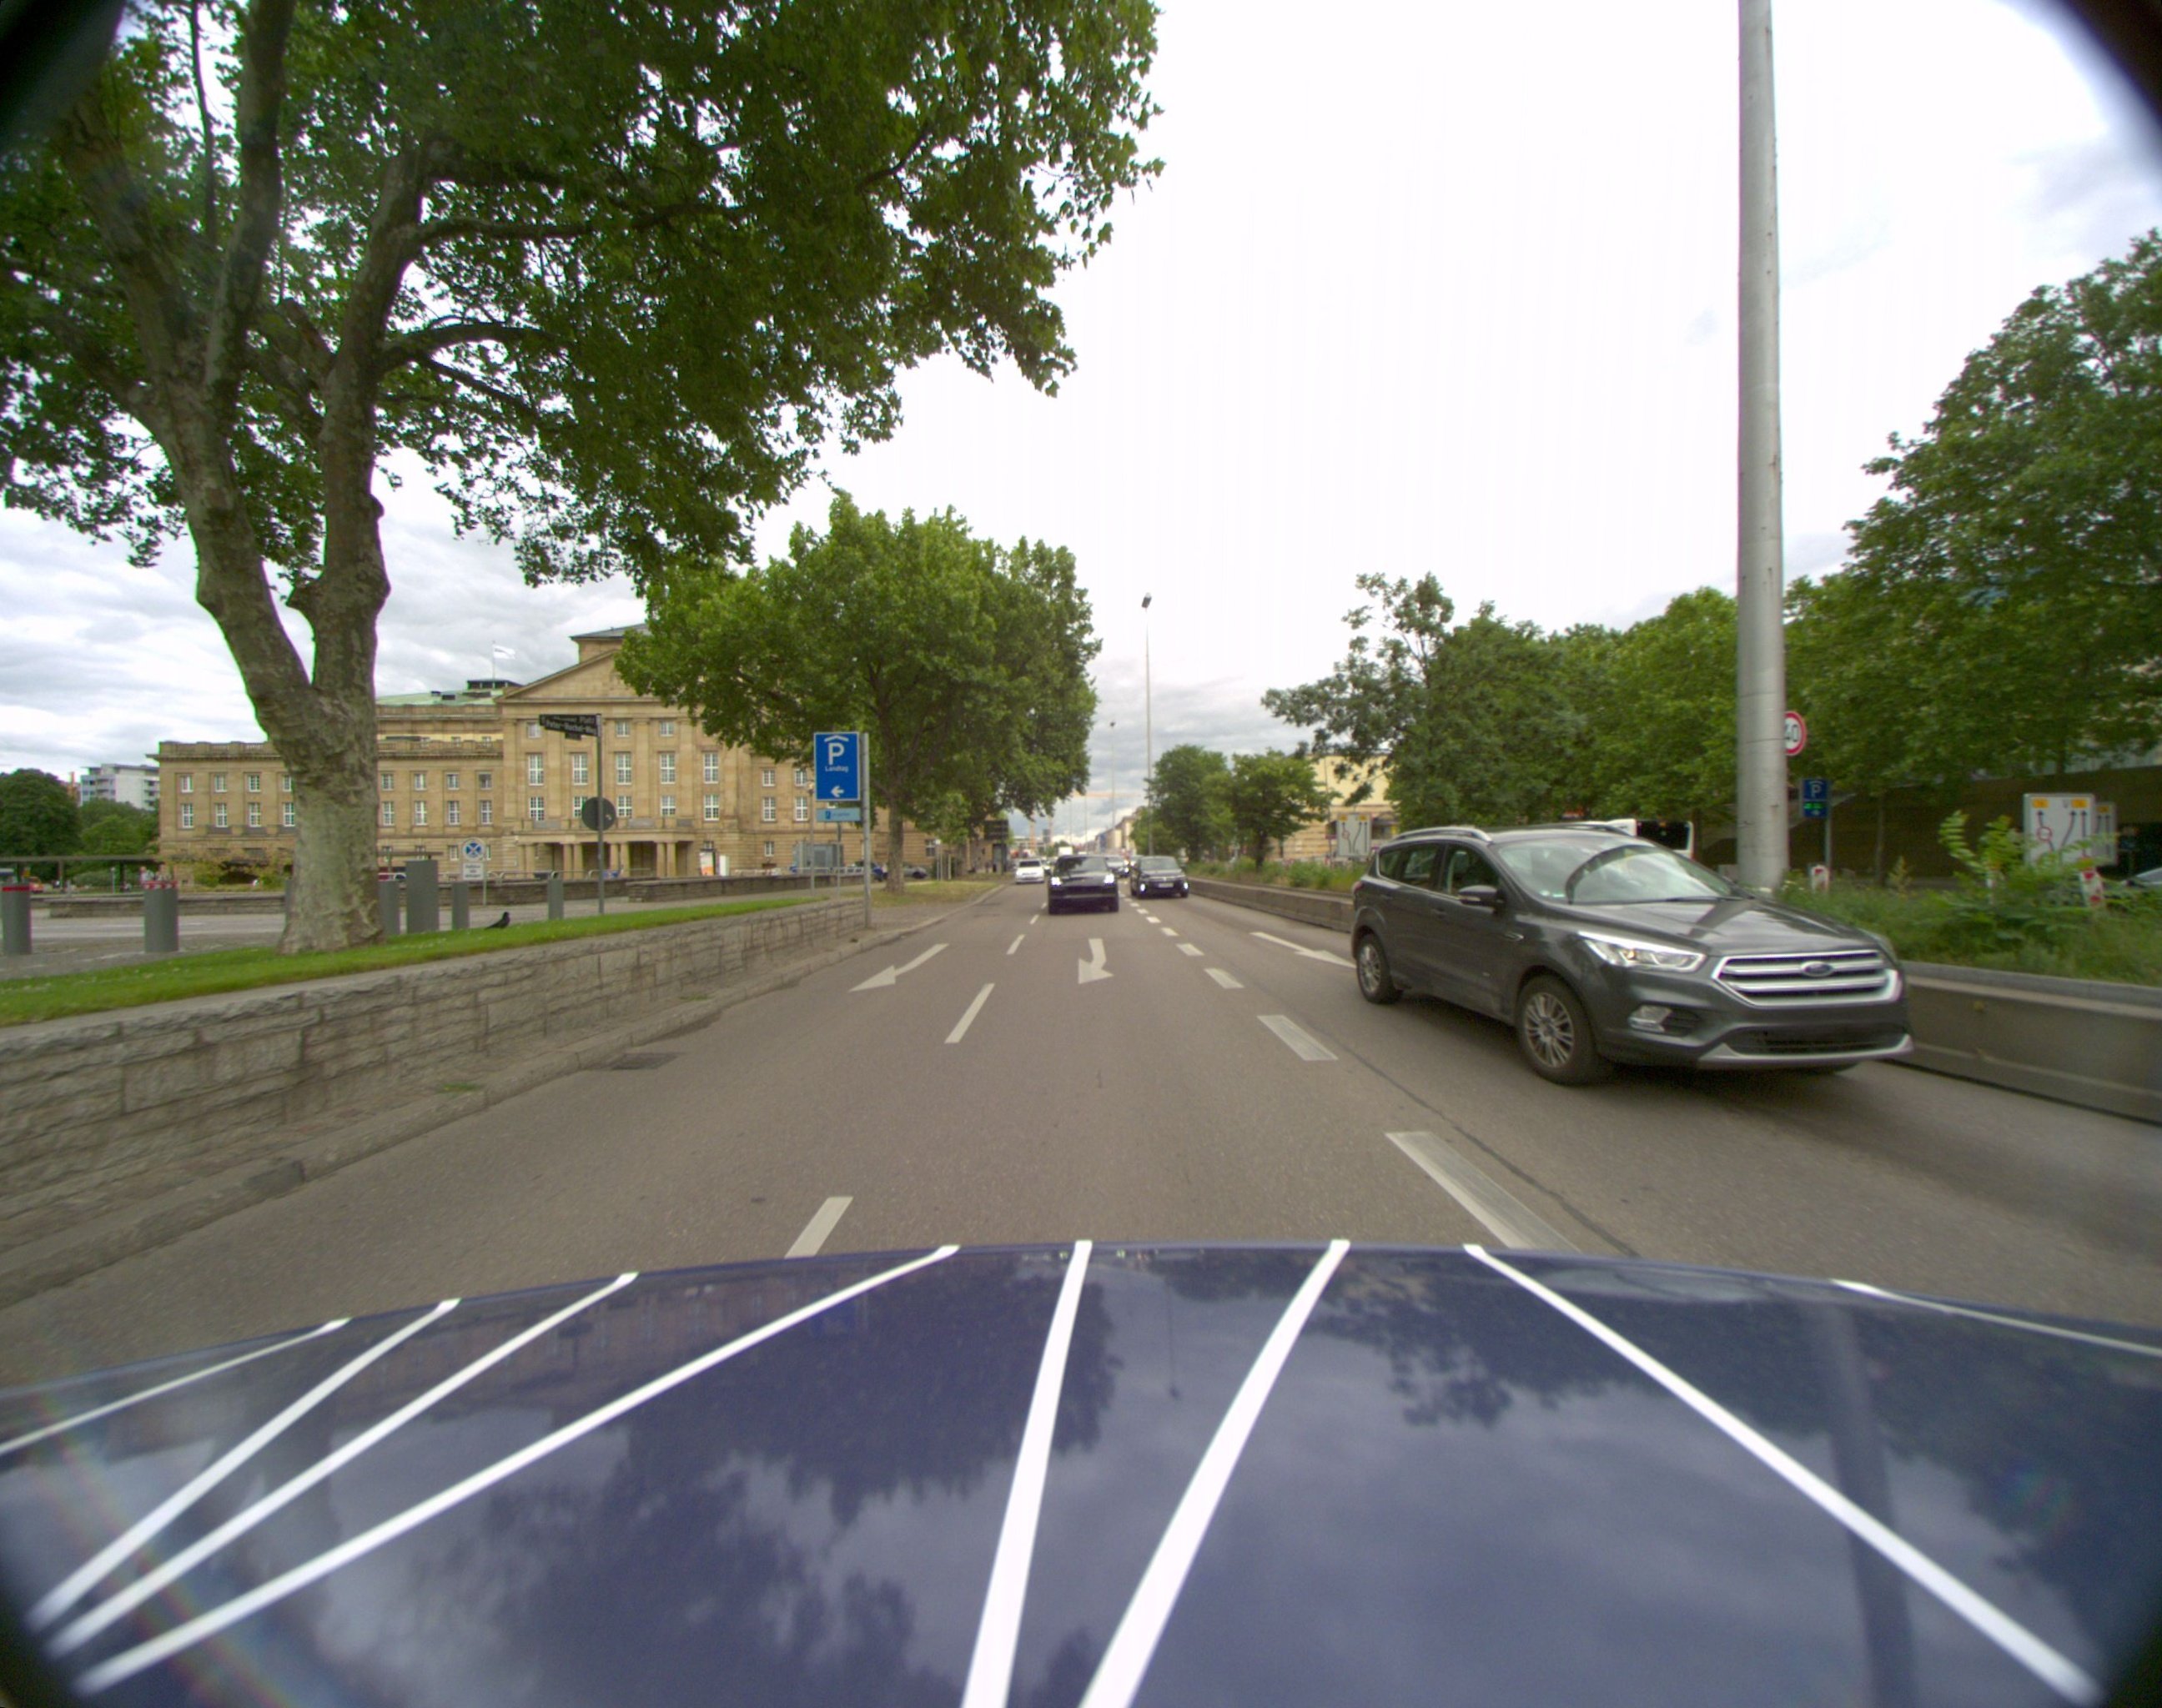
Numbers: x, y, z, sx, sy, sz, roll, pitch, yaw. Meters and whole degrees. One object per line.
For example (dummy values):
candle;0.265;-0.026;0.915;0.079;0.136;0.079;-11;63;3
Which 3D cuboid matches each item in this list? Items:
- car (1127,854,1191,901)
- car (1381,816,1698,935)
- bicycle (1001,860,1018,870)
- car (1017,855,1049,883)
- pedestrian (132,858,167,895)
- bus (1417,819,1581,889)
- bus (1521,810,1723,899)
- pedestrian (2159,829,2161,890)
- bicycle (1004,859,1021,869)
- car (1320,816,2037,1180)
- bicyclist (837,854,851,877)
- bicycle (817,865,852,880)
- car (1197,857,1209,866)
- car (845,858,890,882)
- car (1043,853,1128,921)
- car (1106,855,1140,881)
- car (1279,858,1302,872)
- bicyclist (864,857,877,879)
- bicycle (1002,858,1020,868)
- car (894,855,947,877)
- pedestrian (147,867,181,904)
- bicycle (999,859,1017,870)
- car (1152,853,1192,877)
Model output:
car;2.822;0.804;28.339;1.767;1.507;4.151;-2;1;-2
car;6.791;0.277;12.065;1.999;1.474;4.808;-1;0;-2
bicycle;-7.918;1.168;83.864;1.841;1.066;0.618;-1;0;-9
car;-3.081;0.958;49.736;1.696;1.585;3.999;-3;1;1
pedestrian;-52.957;1.277;43.203;0.857;2.002;0.816;-3;2;12
bus;22.320;-0.005;41.572;2.920;3.285;10.447;-1;0;-2
bus;22.622;0.002;32.482;2.931;3.284;7.704;-1;0;-3
pedestrian;33.397;0.175;22.759;0.723;1.844;0.987;1;1;-1
bicycle;-7.769;1.134;85.723;1.843;1.066;0.531;-1;0;-21
car;3.692;0.715;6.064;1.899;1.705;4.657;-2;0;-2
bicyclist;-20.818;1.012;66.831;1.104;2.002;1.011;-2;0;-16
bicycle;-21.575;1.584;66.595;2.846;1.178;1.096;-2;1;-18
car;21.107;1.298;131.499;1.356;1.281;3.736;-3;1;-2
car;-14.437;1.080;51.494;1.768;1.508;4.219;-1;-1;1
car;0.001;0.869;22.428;2.062;1.616;4.599;-4;1;-4
car;2.901;0.948;53.285;1.999;1.607;4.737;-1;1;-1
car;21.329;1.092;77.375;1.356;1.281;3.055;-3;1;-2
bicyclist;-19.445;1.268;70.142;0.879;2.002;0.842;-4;1;-27
bicycle;-8.030;1.063;87.278;1.939;1.126;0.540;-1;0;-21
car;-13.512;0.975;64.082;3.998;1.587;1.734;-3;1;-2
pedestrian;-51.948;1.761;43.054;0.766;2.002;0.816;-3;2;7
bicycle;-8.018;1.147;83.185;1.919;1.092;0.541;-1;0;-9
car;6.138;0.728;51.659;1.999;1.474;4.808;-1;0;-2
